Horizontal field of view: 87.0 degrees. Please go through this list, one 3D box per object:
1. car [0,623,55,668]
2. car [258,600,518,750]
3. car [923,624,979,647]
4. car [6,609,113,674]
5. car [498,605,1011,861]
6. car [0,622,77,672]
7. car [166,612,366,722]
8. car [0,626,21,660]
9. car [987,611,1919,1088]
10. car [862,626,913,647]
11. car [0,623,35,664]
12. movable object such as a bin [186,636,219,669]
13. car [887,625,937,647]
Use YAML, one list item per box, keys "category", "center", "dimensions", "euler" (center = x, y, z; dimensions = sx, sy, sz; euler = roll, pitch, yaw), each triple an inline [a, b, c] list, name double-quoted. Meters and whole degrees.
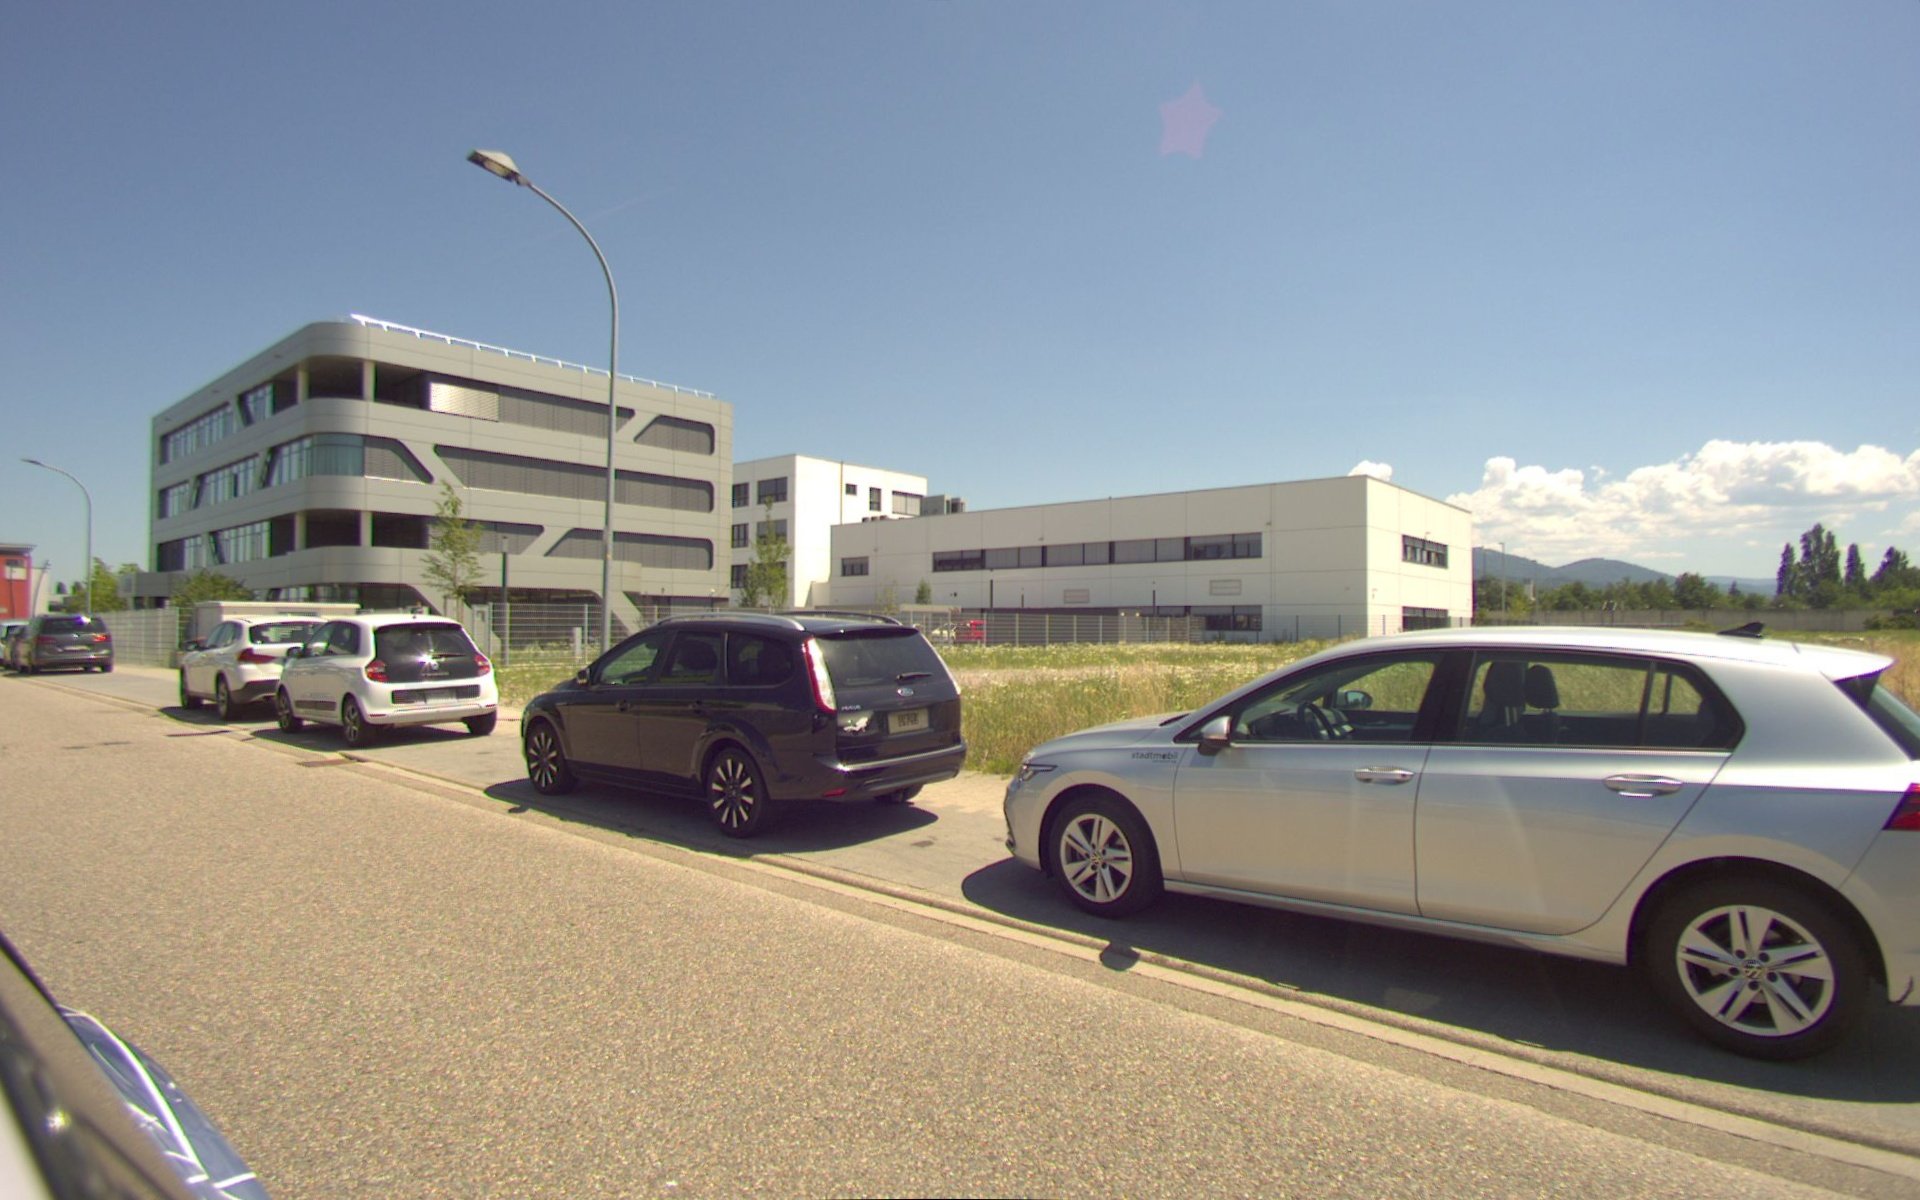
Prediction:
- category: "car"
  center: [-34.079, 1.612, 36.530]
  dimensions: [3.655, 1.548, 1.618]
  euler: [-1, -1, 40]
- category: "car"
  center: [-7.544, 0.872, 13.229]
  dimensions: [3.765, 1.669, 1.769]
  euler: [-1, -1, 40]
- category: "car"
  center: [-0.646, 2.563, 73.400]
  dimensions: [1.921, 1.597, 3.945]
  euler: [-2, -3, 41]
- category: "car"
  center: [-26.454, 1.170, 29.681]
  dimensions: [4.620, 1.732, 1.784]
  euler: [-1, -1, 41]
- category: "car"
  center: [-1.854, 0.829, 8.172]
  dimensions: [4.377, 1.529, 1.745]
  euler: [-1, -1, 41]
- category: "car"
  center: [-30.356, 1.504, 33.212]
  dimensions: [3.970, 1.512, 1.617]
  euler: [-1, -1, 42]
- category: "car"
  center: [-11.341, 0.984, 16.429]
  dimensions: [4.364, 1.554, 1.767]
  euler: [-1, -1, 43]
- category: "car"
  center: [-42.566, 1.879, 44.253]
  dimensions: [4.436, 1.455, 1.686]
  euler: [-1, -1, 40]
- category: "car"
  center: [2.327, 0.801, 4.768]
  dimensions: [4.195, 1.462, 1.746]
  euler: [-1, -1, 38]
- category: "car"
  center: [-5.587, 2.821, 78.605]
  dimensions: [1.917, 1.597, 3.954]
  euler: [-1, -2, 34]
- category: "car"
  center: [-38.427, 1.715, 40.361]
  dimensions: [4.568, 1.548, 1.686]
  euler: [-1, -1, 40]
- category: "movable object such as a bin"
  center: [-22.072, 1.524, 29.481]
  dimensions: [0.594, 0.952, 0.517]
  euler: [0, -1, -9]
- category: "car"
  center: [-3.634, 2.751, 77.414]
  dimensions: [1.917, 1.597, 3.954]
  euler: [-1, -2, 34]
